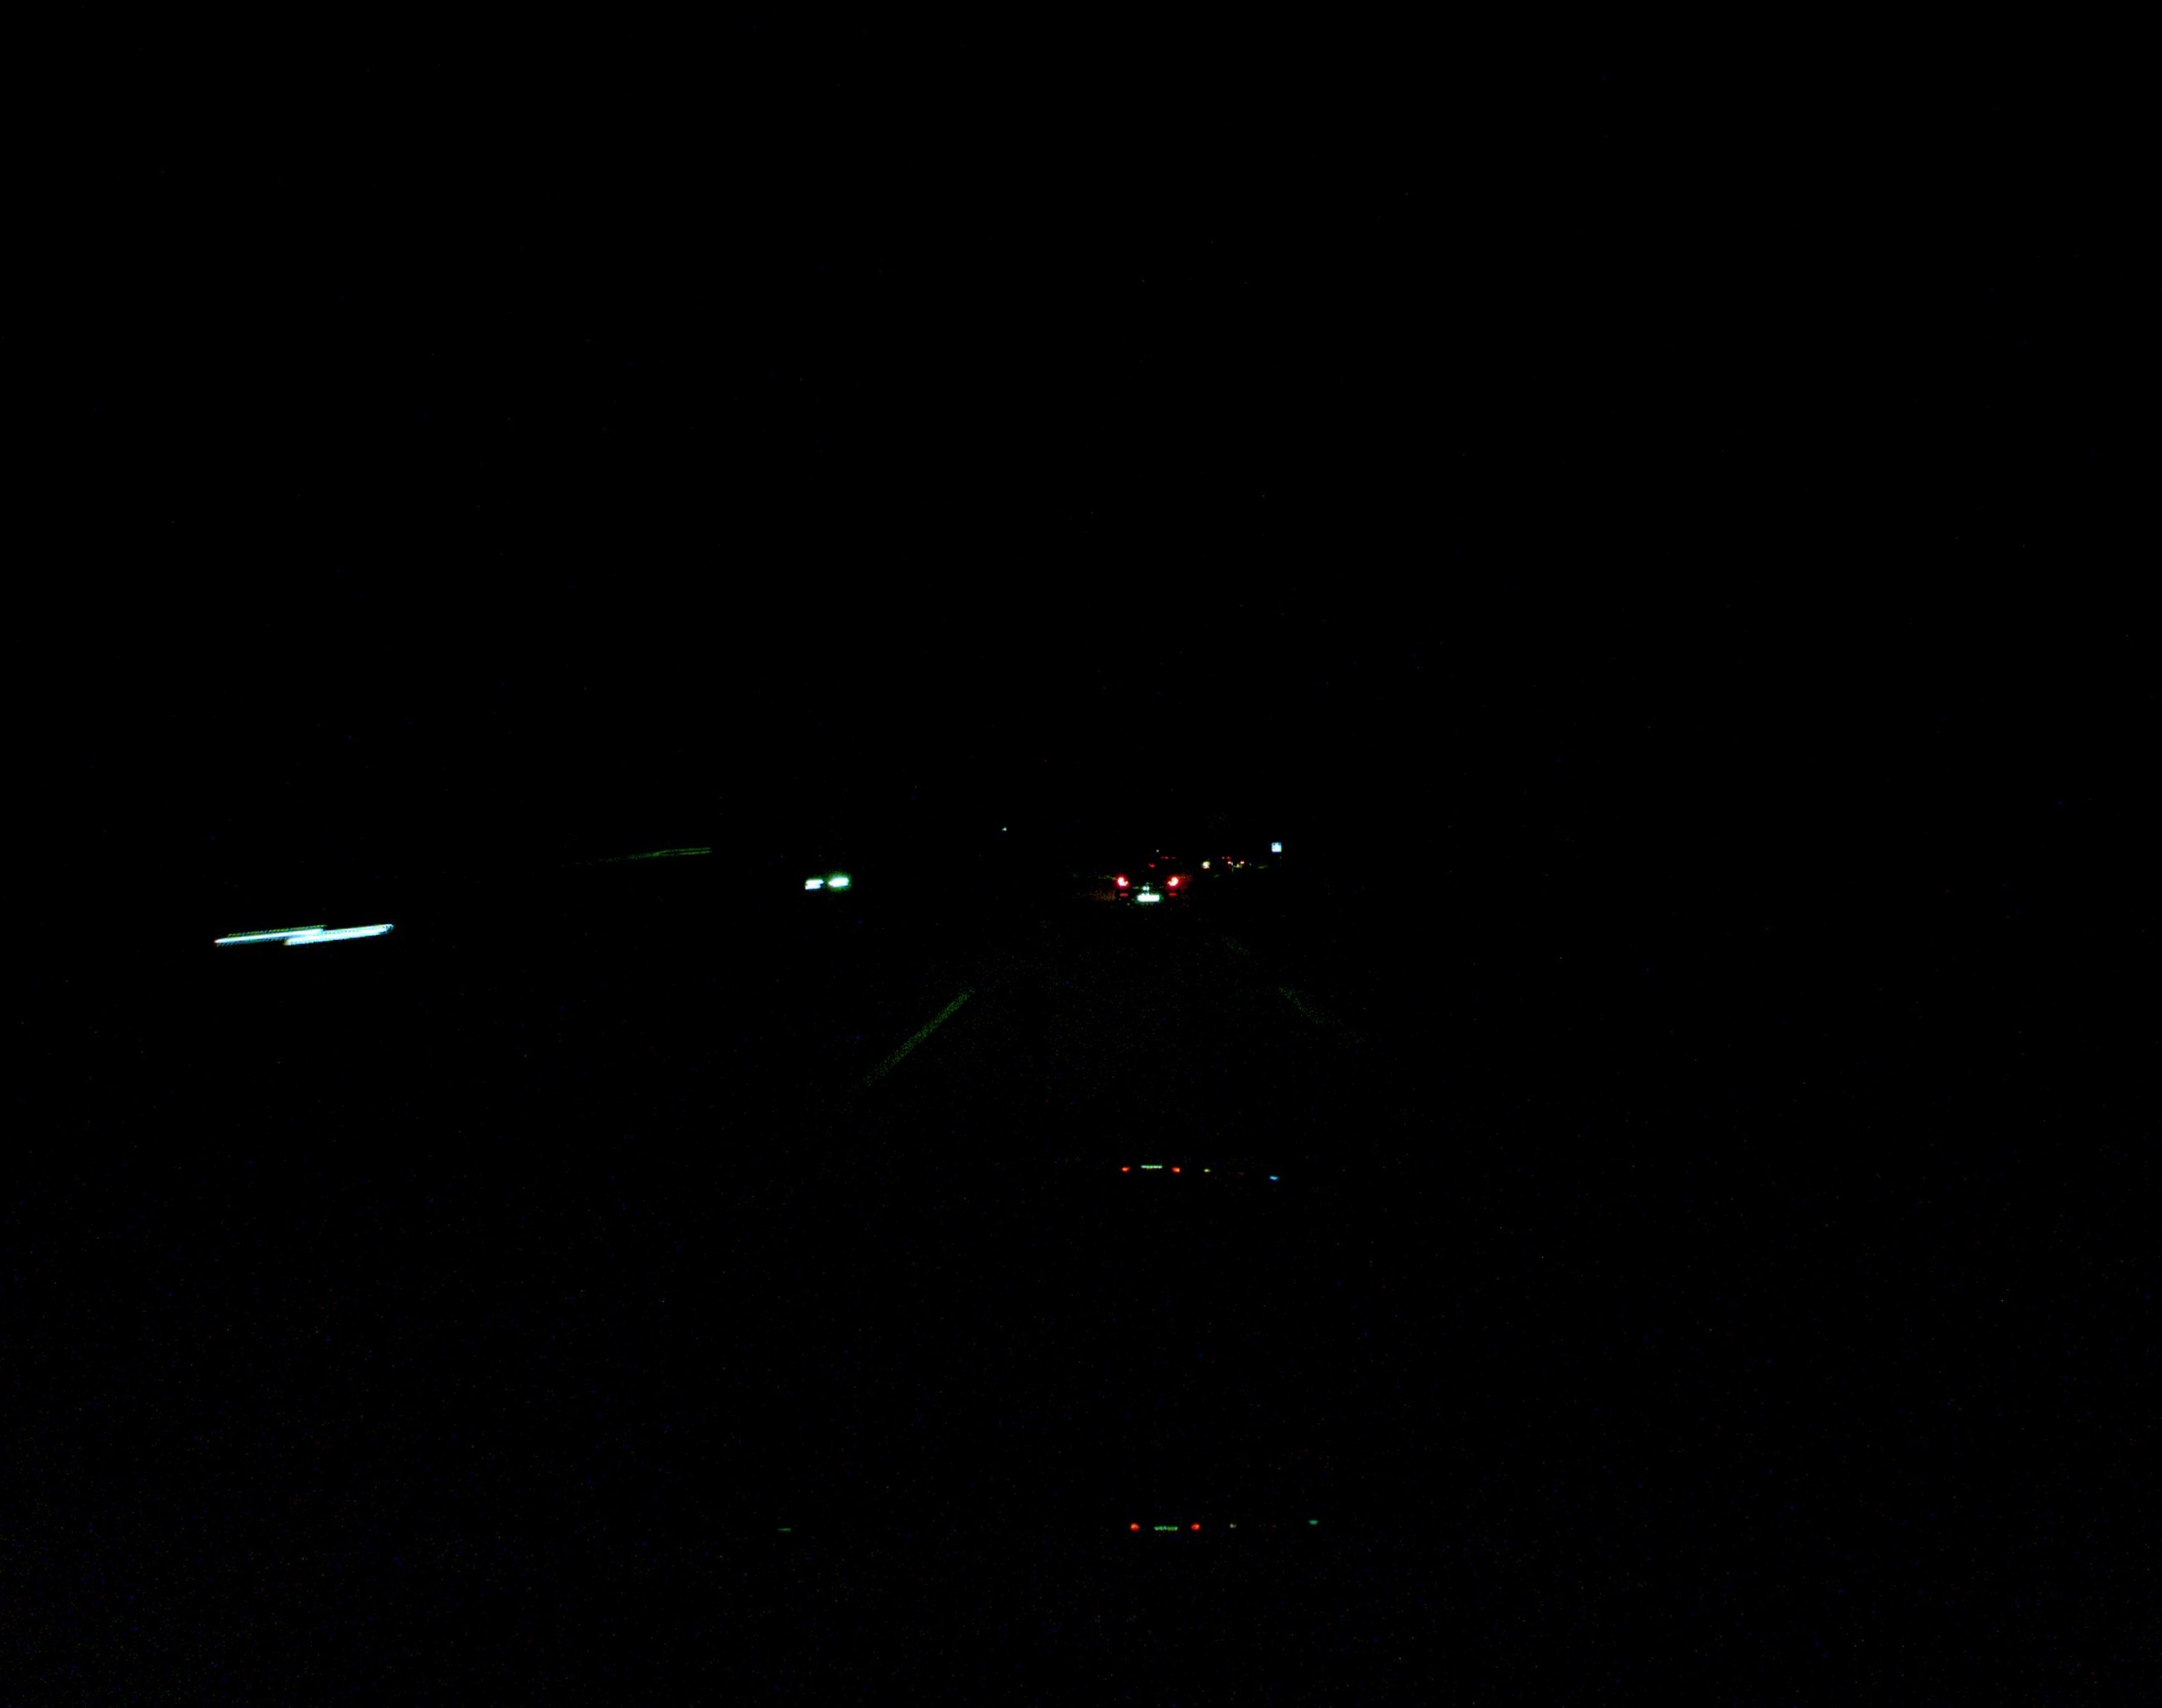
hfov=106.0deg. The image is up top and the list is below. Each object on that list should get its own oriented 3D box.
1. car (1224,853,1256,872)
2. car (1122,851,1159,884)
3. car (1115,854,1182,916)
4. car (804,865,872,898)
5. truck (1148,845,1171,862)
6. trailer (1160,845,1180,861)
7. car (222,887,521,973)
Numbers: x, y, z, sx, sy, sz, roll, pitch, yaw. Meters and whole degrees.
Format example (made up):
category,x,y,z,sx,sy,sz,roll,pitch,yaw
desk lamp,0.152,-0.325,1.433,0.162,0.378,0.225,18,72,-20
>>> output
category,x,y,z,sx,sy,sz,roll,pitch,yaw
car,16.193,0.888,82.781,1.914,1.816,4.290,-2,0,27
car,3.264,0.718,45.243,1.899,1.698,4.003,-2,0,2
car,1.730,0.765,21.899,1.582,1.508,4.002,0,0,2
car,-12.758,1.393,42.970,1.984,1.557,4.300,-2,0,4
truck,18.780,-0.153,193.957,2.658,4.044,10.708,-2,0,21
trailer,22.291,-0.259,203.248,2.694,3.956,9.094,-2,0,21
car,-13.777,1.398,16.244,1.984,1.271,4.300,-2,0,4
